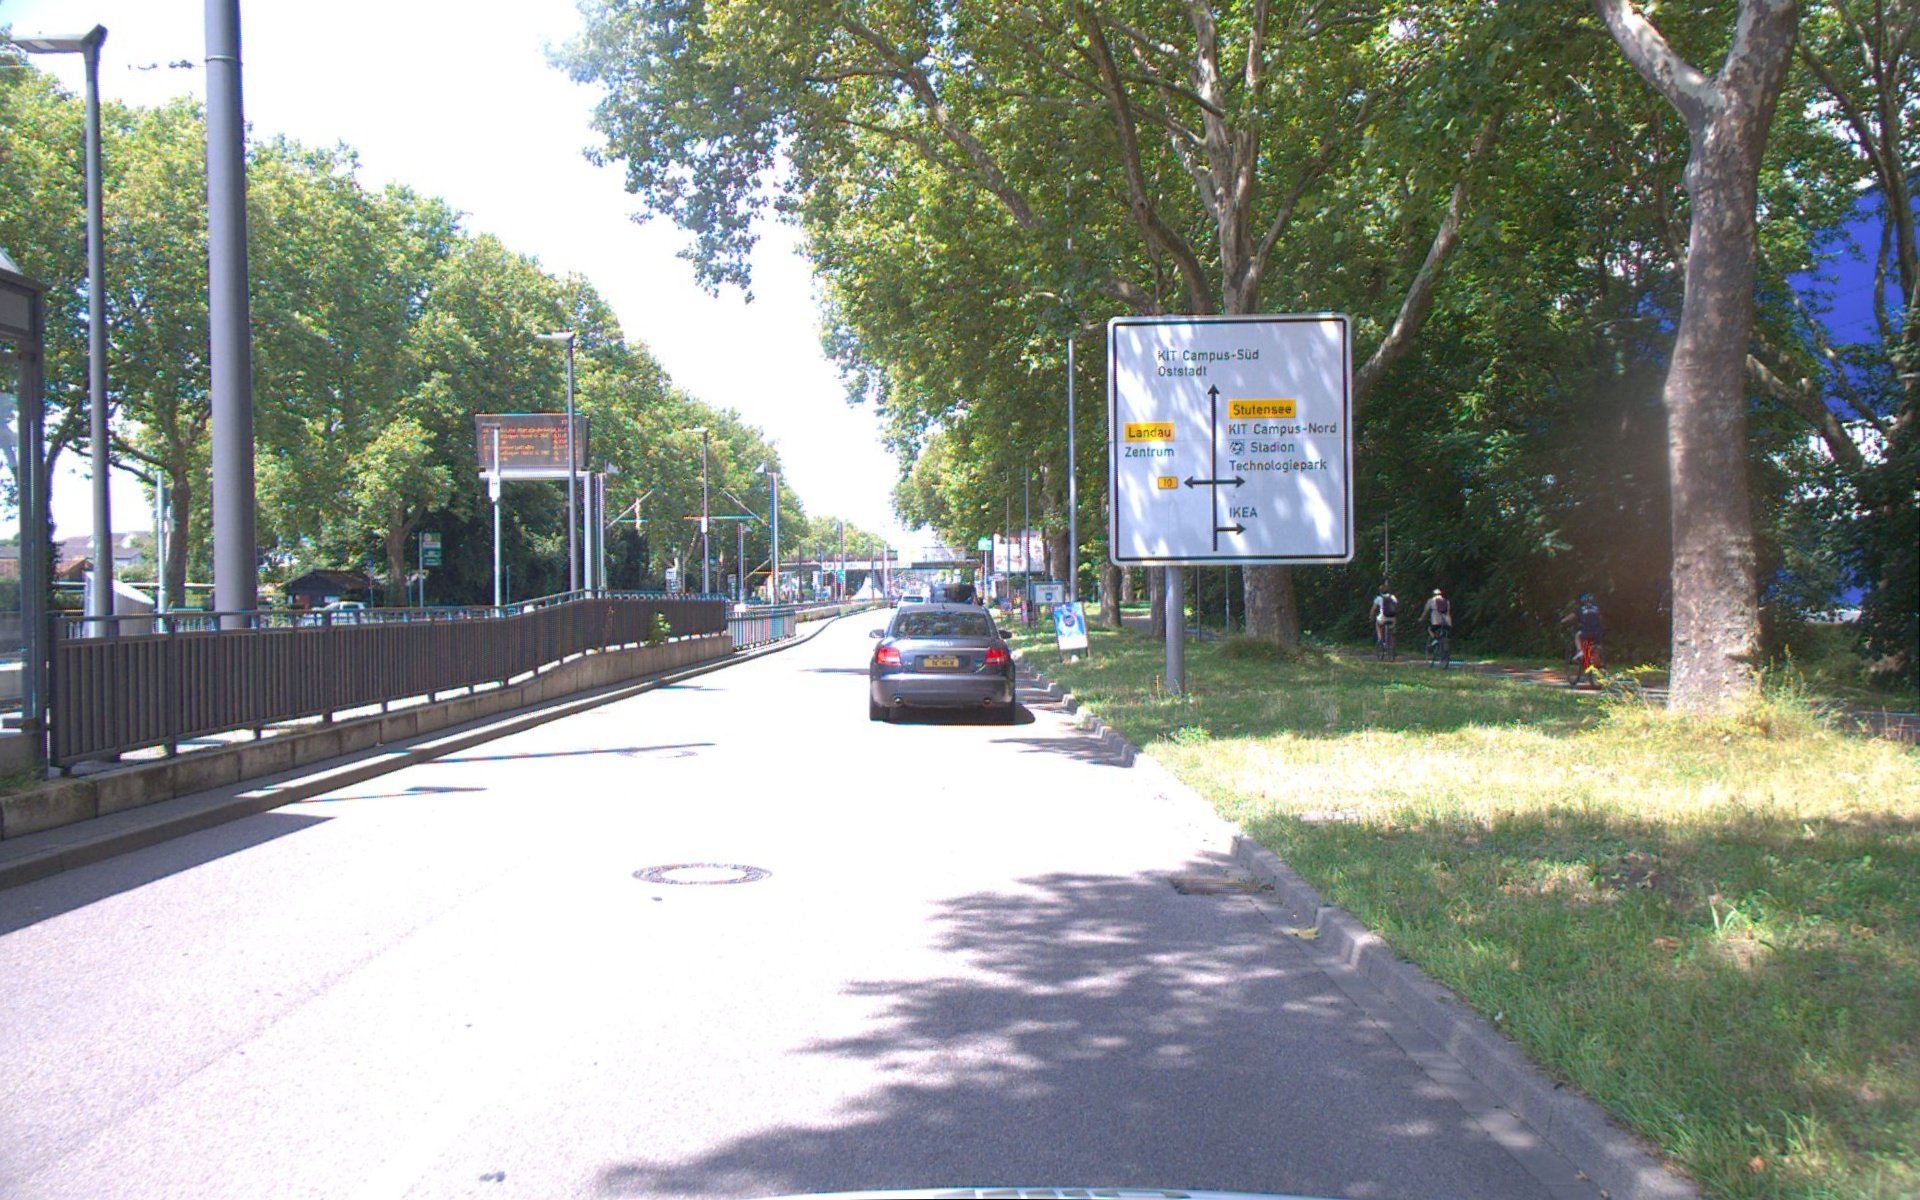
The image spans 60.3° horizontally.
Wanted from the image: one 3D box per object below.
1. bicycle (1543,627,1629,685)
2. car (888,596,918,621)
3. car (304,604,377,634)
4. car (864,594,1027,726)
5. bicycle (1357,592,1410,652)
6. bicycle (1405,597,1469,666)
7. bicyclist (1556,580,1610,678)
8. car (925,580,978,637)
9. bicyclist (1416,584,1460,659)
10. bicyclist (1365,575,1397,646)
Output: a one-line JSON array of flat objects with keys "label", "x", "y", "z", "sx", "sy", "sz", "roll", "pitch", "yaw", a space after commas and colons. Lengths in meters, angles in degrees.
[{"label": "bicycle", "x": 10.506, "y": 0.922, "z": 27.822, "sx": 0.632, "sy": 0.902, "sz": 2.023, "roll": 0, "pitch": 0, "yaw": -1}, {"label": "car", "x": -3.497, "y": 0.528, "z": 101.885, "sx": 1.808, "sy": 1.489, "sz": 3.998, "roll": 0, "pitch": 0, "yaw": -2}, {"label": "car", "x": -31.626, "y": 0.962, "z": 84.499, "sx": 3.258, "sy": 1.501, "sz": 1.650, "roll": 0, "pitch": 0, "yaw": -12}, {"label": "car", "x": -0.284, "y": 0.690, "z": 21.291, "sx": 1.806, "sy": 1.510, "sz": 3.996, "roll": -1, "pitch": 0, "yaw": -5}, {"label": "bicycle", "x": 10.563, "y": 0.532, "z": 41.354, "sx": 0.598, "sy": 1.444, "sz": 2.661, "roll": -1, "pitch": 0, "yaw": -1}, {"label": "bicycle", "x": 10.523, "y": 0.661, "z": 36.561, "sx": 0.598, "sy": 1.444, "sz": 2.661, "roll": -1, "pitch": 0, "yaw": -1}, {"label": "bicyclist", "x": 10.524, "y": 0.481, "z": 27.938, "sx": 0.610, "sy": 1.638, "sz": 0.817, "roll": 0, "pitch": 0, "yaw": 0}, {"label": "car", "x": -0.268, "y": 0.290, "z": 60.954, "sx": 1.810, "sy": 1.994, "sz": 4.145, "roll": 1, "pitch": 0, "yaw": 1}, {"label": "bicyclist", "x": 10.553, "y": 0.472, "z": 36.543, "sx": 0.645, "sy": 1.627, "sz": 1.053, "roll": 0, "pitch": 0, "yaw": 0}, {"label": "bicyclist", "x": 10.573, "y": 0.258, "z": 41.518, "sx": 0.585, "sy": 1.776, "sz": 0.843, "roll": 0, "pitch": 0, "yaw": -1}]
